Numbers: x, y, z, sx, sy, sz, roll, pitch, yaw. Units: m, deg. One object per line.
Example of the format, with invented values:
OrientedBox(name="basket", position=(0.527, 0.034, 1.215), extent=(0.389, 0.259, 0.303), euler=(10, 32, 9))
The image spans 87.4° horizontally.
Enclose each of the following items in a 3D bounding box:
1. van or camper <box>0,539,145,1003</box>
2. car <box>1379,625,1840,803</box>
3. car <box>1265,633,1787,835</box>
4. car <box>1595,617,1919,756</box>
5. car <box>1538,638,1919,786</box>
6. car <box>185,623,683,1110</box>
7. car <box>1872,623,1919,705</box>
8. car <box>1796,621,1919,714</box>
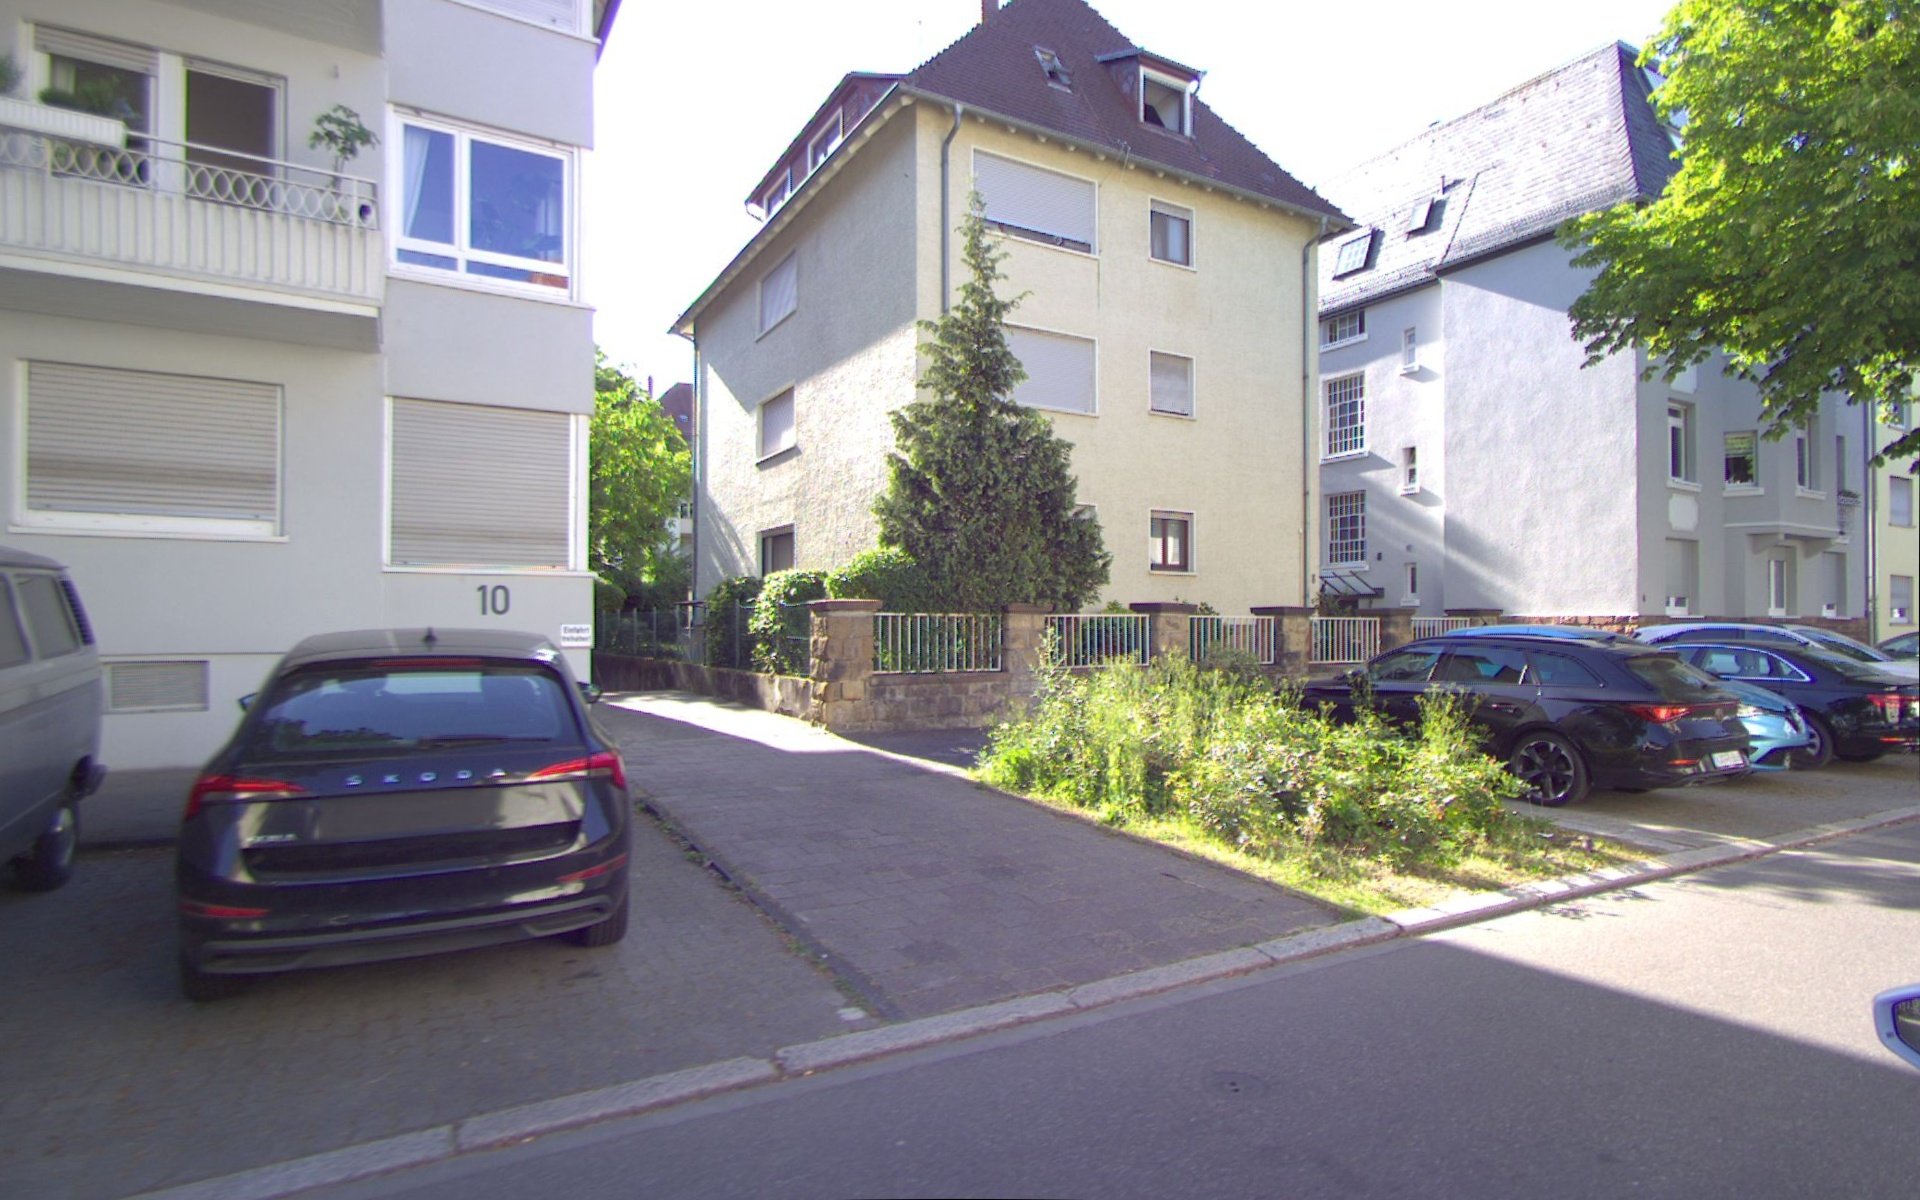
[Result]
OrientedBox(name="van or camper", position=(-5.046, 0.710, 4.074), extent=(1.941, 1.940, 4.477), euler=(1, -1, -29))
OrientedBox(name="car", position=(7.038, 1.100, 11.322), extent=(1.857, 1.613, 3.967), euler=(1, -2, -31))
OrientedBox(name="car", position=(5.272, 1.101, 9.966), extent=(1.840, 1.518, 4.167), euler=(1, -2, -31))
OrientedBox(name="car", position=(11.773, 1.127, 14.200), extent=(1.800, 1.674, 4.369), euler=(-1, -2, -28))
OrientedBox(name="car", position=(9.621, 1.232, 12.453), extent=(1.677, 1.488, 3.969), euler=(1, -2, -30))
OrientedBox(name="car", position=(-2.764, 0.945, 5.509), extent=(1.641, 1.518, 3.930), euler=(0, 0, -27))
OrientedBox(name="car", position=(20.164, 1.287, 19.318), extent=(1.748, 1.596, 3.502), euler=(1, 0, -27))
OrientedBox(name="car", position=(17.809, 1.223, 17.961), extent=(1.955, 1.596, 3.973), euler=(1, 0, -27))
